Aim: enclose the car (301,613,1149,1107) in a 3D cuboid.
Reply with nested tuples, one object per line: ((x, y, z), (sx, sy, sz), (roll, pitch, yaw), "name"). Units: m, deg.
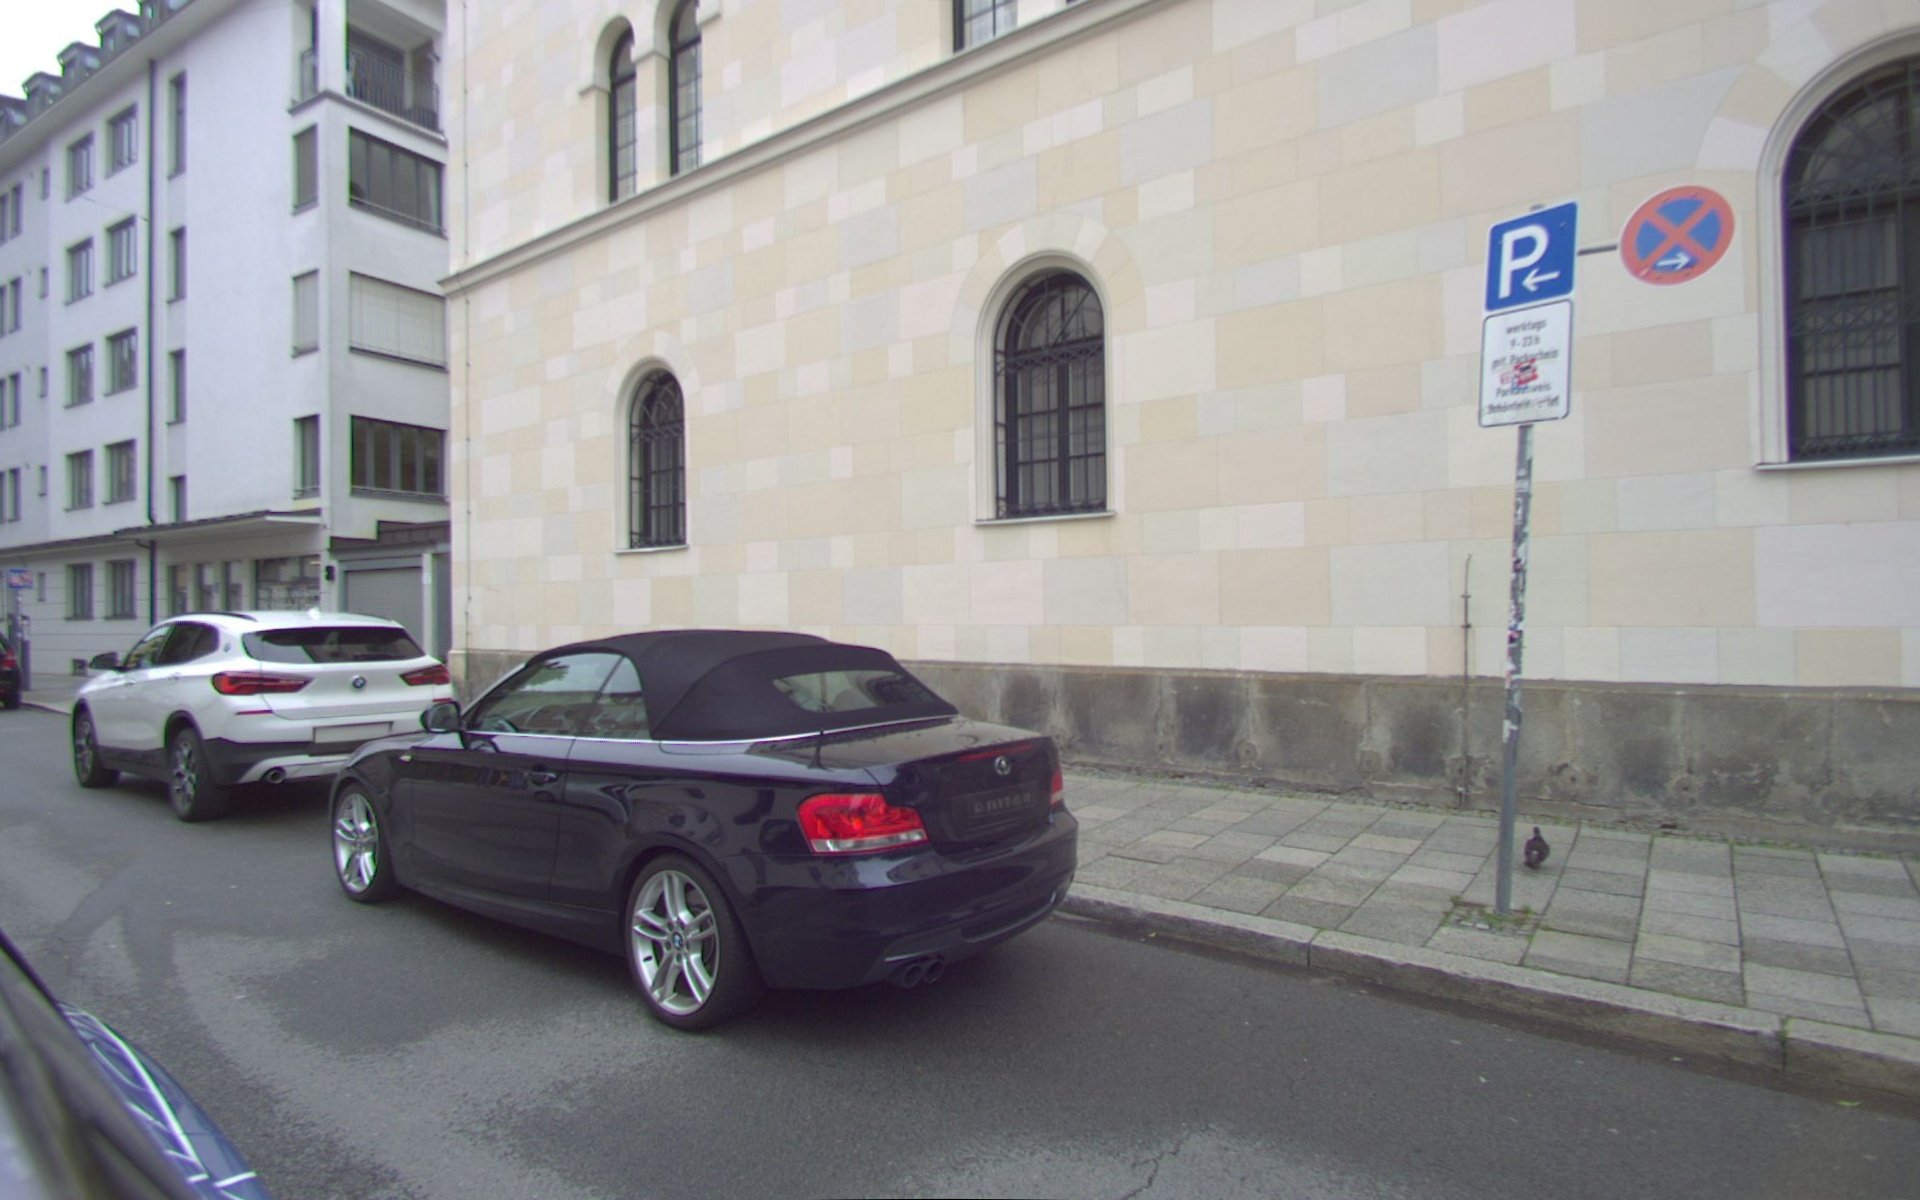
((-1.374, 0.790, 4.856), (4.205, 1.403, 1.682), (-1, -2, 37), "car")

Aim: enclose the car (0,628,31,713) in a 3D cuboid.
((-18.407, 1.276, 18.254), (4.008, 1.464, 1.734), (-3, -3, 37), "car")

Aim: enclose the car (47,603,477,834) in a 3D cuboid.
((-6.153, 0.842, 8.767), (4.203, 1.546, 1.762), (-1, -2, 36), "car")
